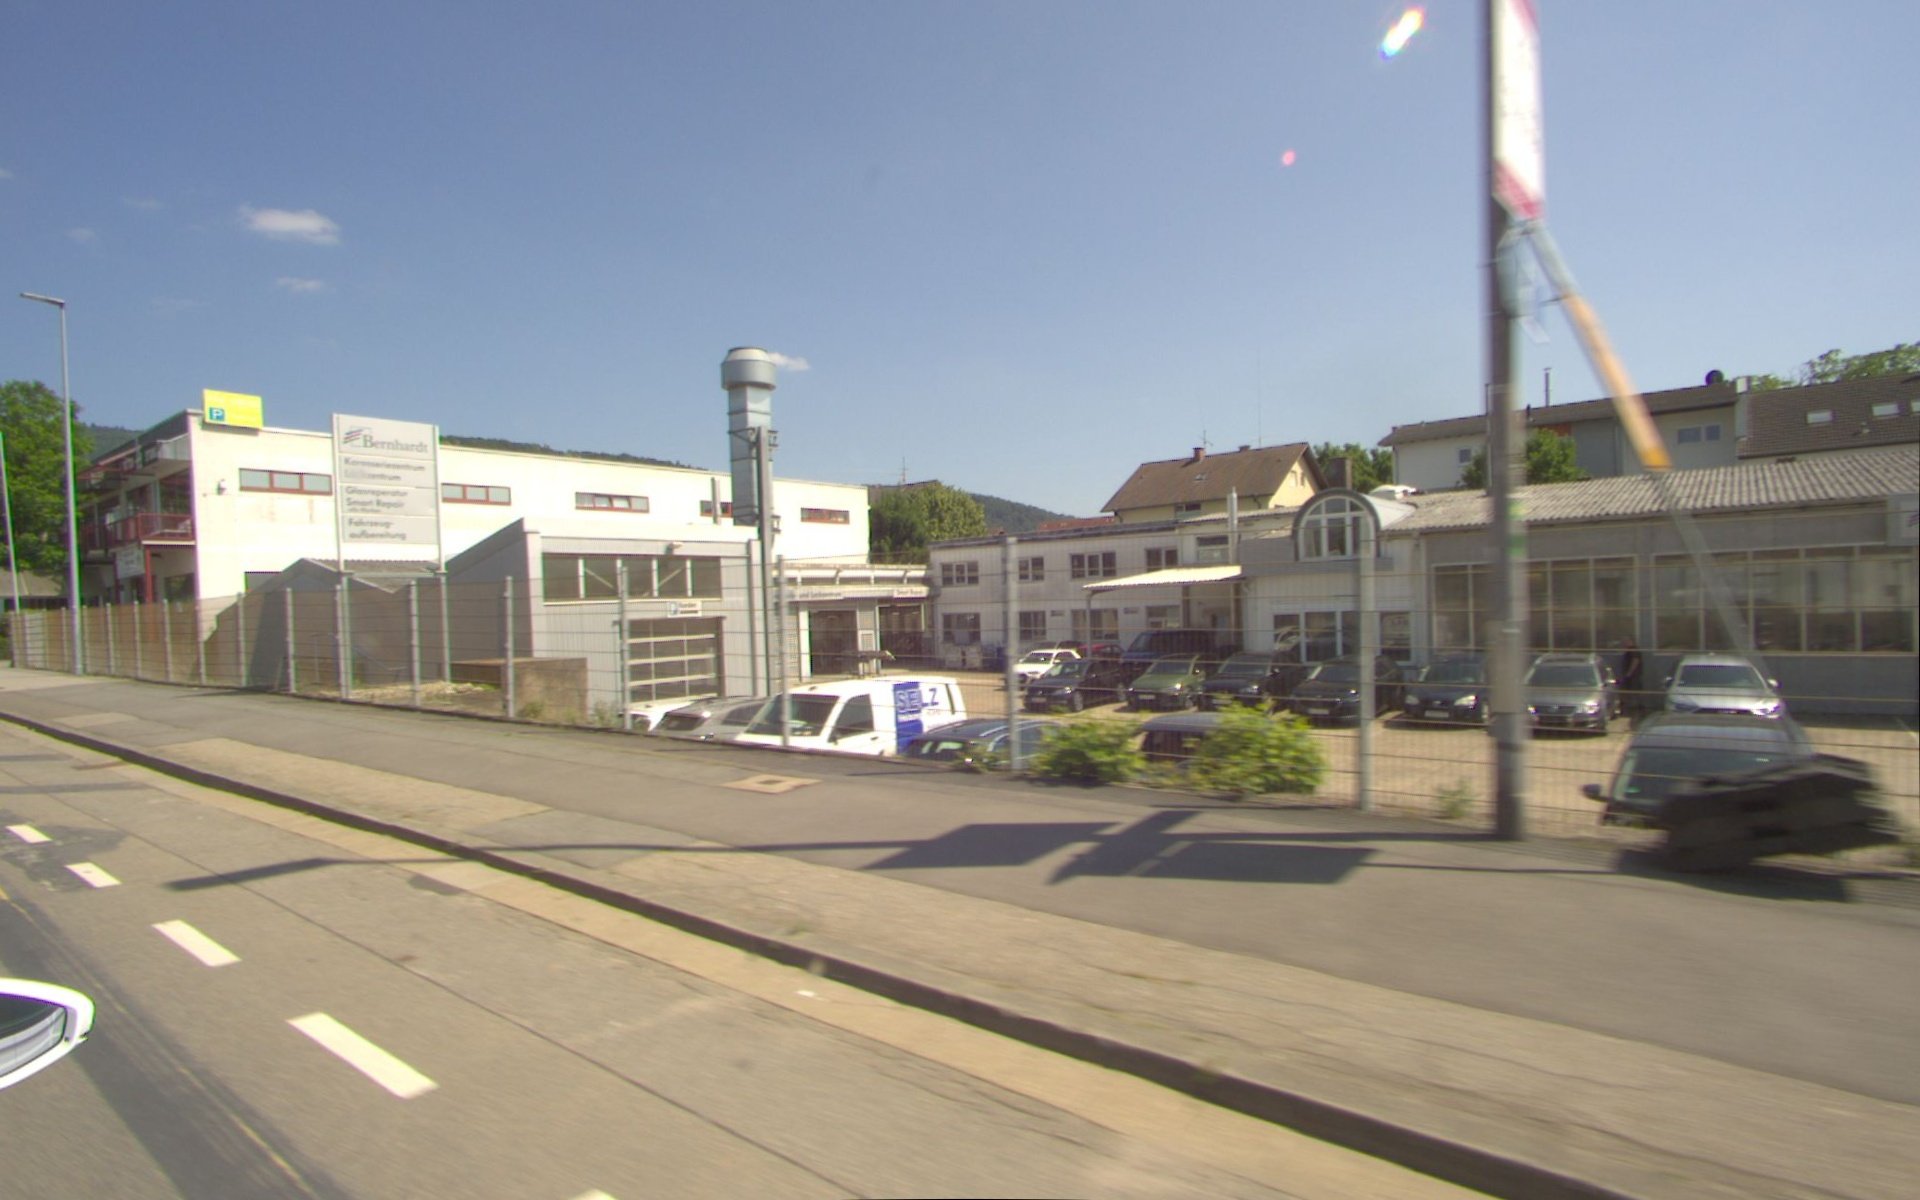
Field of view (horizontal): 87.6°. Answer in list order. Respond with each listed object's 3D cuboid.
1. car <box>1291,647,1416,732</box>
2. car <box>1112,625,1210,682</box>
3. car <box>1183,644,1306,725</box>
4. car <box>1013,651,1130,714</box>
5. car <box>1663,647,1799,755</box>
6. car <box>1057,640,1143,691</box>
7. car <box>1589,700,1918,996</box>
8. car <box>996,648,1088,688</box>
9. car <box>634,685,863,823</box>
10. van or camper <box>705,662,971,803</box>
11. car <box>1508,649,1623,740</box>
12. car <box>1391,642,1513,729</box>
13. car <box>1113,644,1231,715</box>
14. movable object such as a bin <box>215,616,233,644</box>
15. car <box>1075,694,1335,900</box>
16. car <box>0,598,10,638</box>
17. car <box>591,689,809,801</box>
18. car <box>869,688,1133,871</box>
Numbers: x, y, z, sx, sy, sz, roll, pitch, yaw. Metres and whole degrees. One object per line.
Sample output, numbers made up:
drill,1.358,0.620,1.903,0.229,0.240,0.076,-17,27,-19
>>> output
car,9.915,2.143,25.077,1.974,1.684,3.973,-2,1,36
car,7.196,1.837,35.567,1.891,1.881,3.974,-1,-1,37
car,7.760,2.193,27.058,1.974,1.685,3.972,0,2,36
car,3.478,2.471,30.607,1.822,1.536,3.973,-3,0,36
car,15.477,1.938,20.274,1.974,1.684,3.973,-3,0,36
car,6.017,2.758,42.705,1.974,2.039,3.976,-2,-3,36
car,7.195,1.981,9.303,1.974,1.673,3.972,0,0,37
car,3.218,2.617,38.811,1.847,1.422,3.813,-3,-3,36
car,-3.848,2.744,18.797,1.828,2.039,3.974,0,-1,37
van or camper,-1.829,1.999,16.325,1.993,1.673,4.301,0,0,34
car,13.340,1.982,21.965,1.823,1.535,3.973,-3,0,36
car,11.936,1.982,24.176,1.974,1.684,3.973,-3,0,36
car,6.341,2.274,29.632,1.840,1.684,3.969,0,2,38
movable object such as a bin,-28.197,1.142,38.369,0.538,1.025,0.410,0,2,41
car,3.422,2.420,13.452,1.975,2.039,3.974,0,-2,37
car,-45.405,0.858,44.913,1.979,1.799,3.961,0,2,45
car,-5.365,2.913,20.906,3.960,1.853,1.981,2,-2,-43
car,0.737,2.452,14.771,1.975,2.039,3.974,0,-2,37
